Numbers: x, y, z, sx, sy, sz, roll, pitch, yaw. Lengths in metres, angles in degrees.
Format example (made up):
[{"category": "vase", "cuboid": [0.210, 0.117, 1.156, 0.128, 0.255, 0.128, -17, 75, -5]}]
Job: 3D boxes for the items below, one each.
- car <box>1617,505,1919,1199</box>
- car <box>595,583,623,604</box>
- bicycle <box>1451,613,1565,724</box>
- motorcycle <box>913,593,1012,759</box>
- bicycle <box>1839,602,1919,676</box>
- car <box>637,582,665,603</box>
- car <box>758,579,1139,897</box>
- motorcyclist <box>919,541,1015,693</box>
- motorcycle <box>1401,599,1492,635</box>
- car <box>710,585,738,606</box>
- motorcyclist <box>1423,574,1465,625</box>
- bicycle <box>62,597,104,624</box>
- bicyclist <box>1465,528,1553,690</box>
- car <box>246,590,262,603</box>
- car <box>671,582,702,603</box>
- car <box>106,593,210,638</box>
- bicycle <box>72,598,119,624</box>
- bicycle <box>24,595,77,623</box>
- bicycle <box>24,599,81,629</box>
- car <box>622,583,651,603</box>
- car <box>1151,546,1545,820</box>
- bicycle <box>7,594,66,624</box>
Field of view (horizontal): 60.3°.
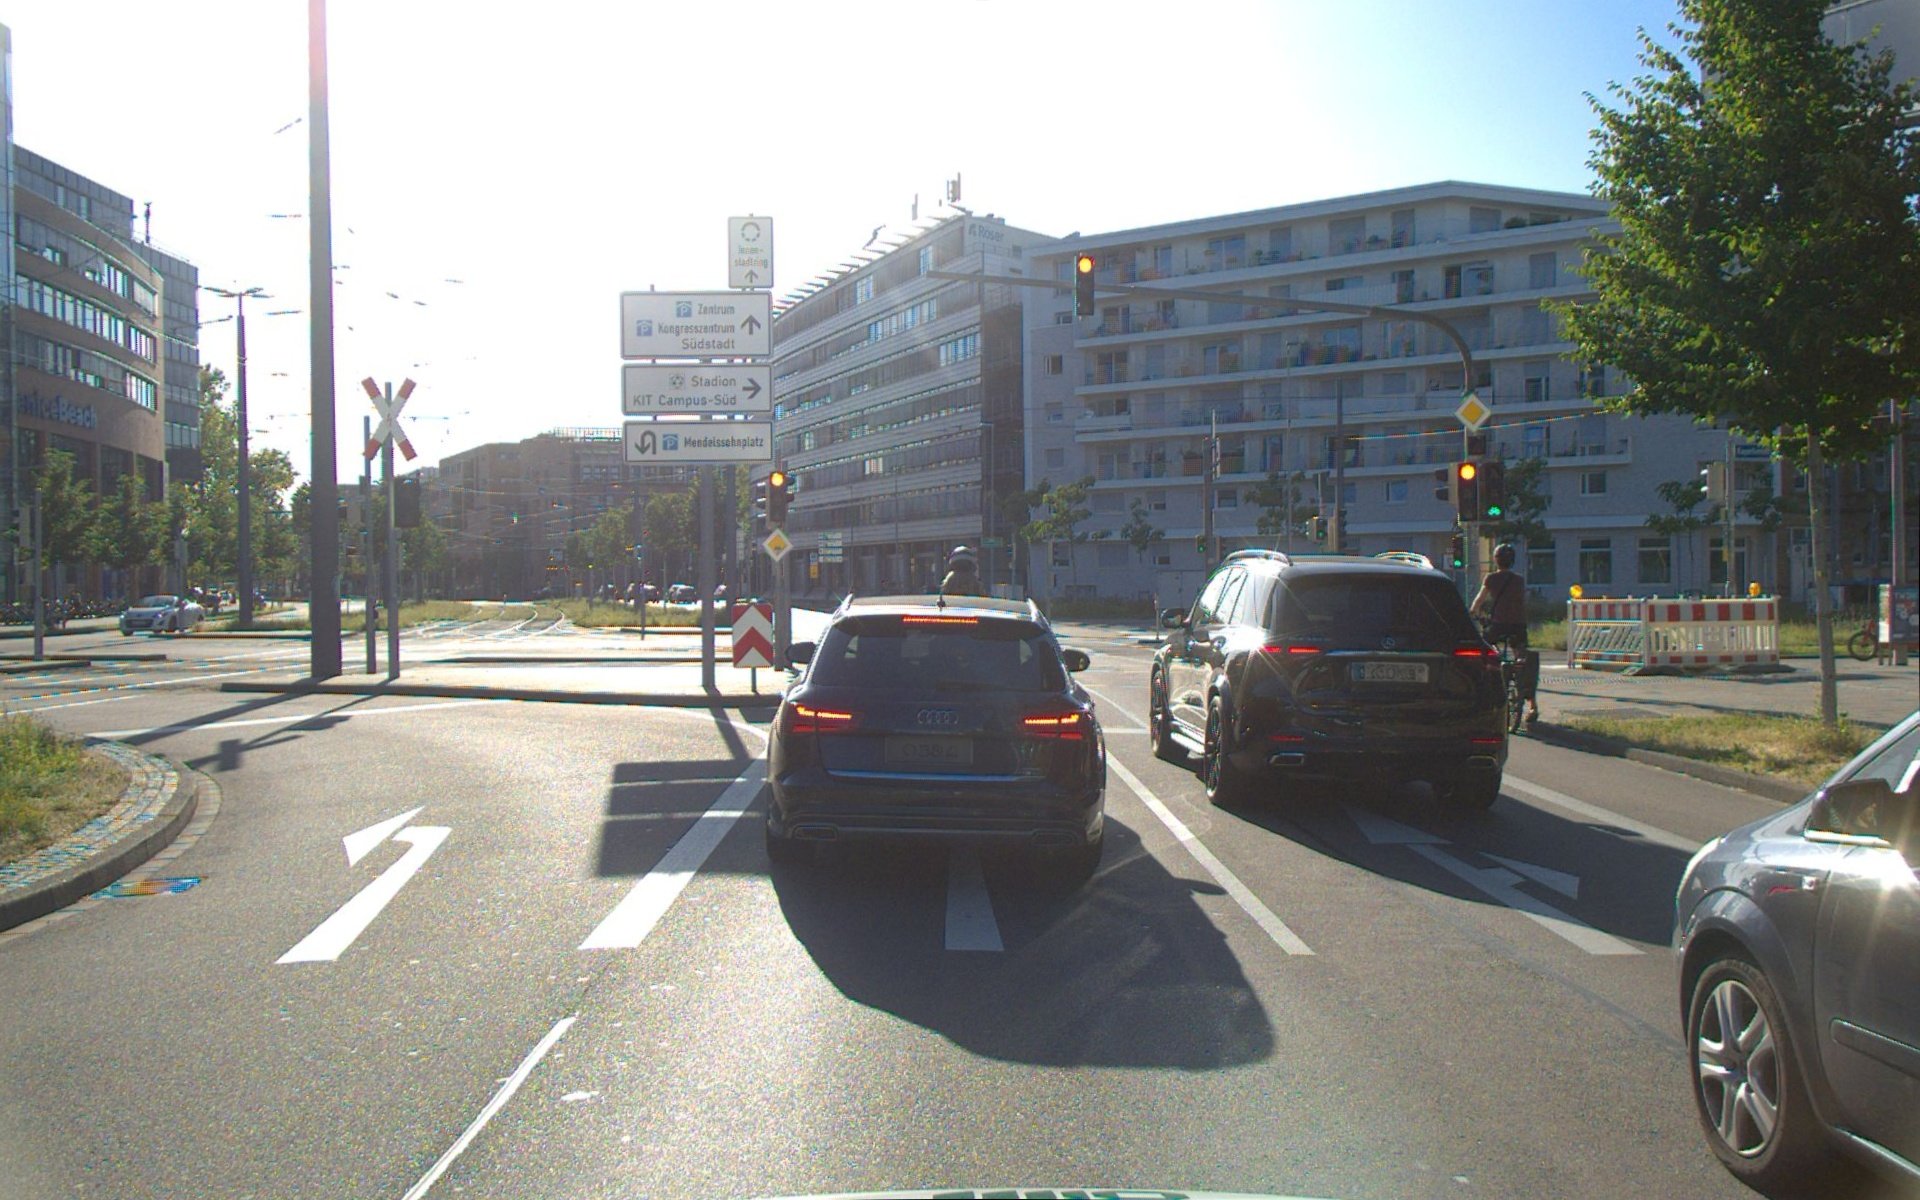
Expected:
[{"category": "car", "cuboid": [2.892, 0.686, 2.898, 1.710, 1.725, 4.260, 1, 0, -1]}, {"category": "car", "cuboid": [-31.185, -0.572, 146.747, 1.963, 1.736, 3.978, -1, 0, -19]}, {"category": "bicycle", "cuboid": [5.822, 0.703, 17.678, 0.640, 1.061, 1.930, -1, 1, 2]}, {"category": "motorcycle", "cuboid": [0.010, 0.650, 15.236, 0.845, 1.417, 1.893, -1, 0, -1]}, {"category": "bicycle", "cuboid": [16.947, 0.693, 29.617, 2.042, 1.284, 0.765, 0, 0, 39]}, {"category": "car", "cuboid": [-26.445, -0.631, 141.510, 1.961, 1.624, 3.982, -1, 0, -16]}, {"category": "car", "cuboid": [-0.094, 0.641, 9.935, 1.805, 1.479, 3.999, 1, 1, -1]}, {"category": "motorcyclist", "cuboid": [0.060, 0.150, 15.123, 0.845, 1.349, 0.681, -1, 0, -1]}, {"category": "motorcycle", "cuboid": [14.634, 0.503, 49.838, 2.402, 1.018, 1.171, -1, 0, 0]}, {"category": "car", "cuboid": [-21.656, -0.417, 151.495, 1.961, 1.870, 3.982, -1, 0, -16]}, {"category": "motorcyclist", "cuboid": [14.581, -0.017, 49.831, 0.906, 1.507, 1.172, -1, 0, 0]}, {"category": "bicycle", "cuboid": [-50.759, 0.607, 95.755, 2.092, 1.458, 0.759, -2, 0, 8]}, {"category": "bicyclist", "cuboid": [5.854, 0.087, 17.672, 0.640, 1.671, 0.972, -1, 1, 2]}, {"category": "car", "cuboid": [-86.877, -0.463, 203.484, 1.631, 1.616, 3.328, -1, 0, -28]}, {"category": "car", "cuboid": [-22.995, -0.614, 139.164, 1.963, 1.624, 3.979, -1, 0, -18]}, {"category": "car", "cuboid": [-30.010, 0.538, 62.050, 1.954, 1.572, 4.526, -1, 1, -5]}, {"category": "bicycle", "cuboid": [-50.649, 0.640, 96.931, 2.369, 1.458, 0.789, -2, 0, 8]}, {"category": "bicycle", "cuboid": [-50.283, 0.499, 91.447, 2.551, 1.458, 0.772, -2, 0, 8]}, {"category": "bicycle", "cuboid": [-46.679, 0.712, 85.064, 2.507, 1.458, 0.905, -2, 0, 8]}, {"category": "car", "cuboid": [-28.865, -0.615, 147.568, 1.963, 1.736, 3.978, -1, 0, -19]}, {"category": "car", "cuboid": [2.765, 0.504, 12.888, 1.962, 1.745, 4.372, 1, 1, -1]}, {"category": "bicycle", "cuboid": [-46.251, 0.456, 82.822, 2.507, 1.458, 0.905, -2, 0, 8]}]
